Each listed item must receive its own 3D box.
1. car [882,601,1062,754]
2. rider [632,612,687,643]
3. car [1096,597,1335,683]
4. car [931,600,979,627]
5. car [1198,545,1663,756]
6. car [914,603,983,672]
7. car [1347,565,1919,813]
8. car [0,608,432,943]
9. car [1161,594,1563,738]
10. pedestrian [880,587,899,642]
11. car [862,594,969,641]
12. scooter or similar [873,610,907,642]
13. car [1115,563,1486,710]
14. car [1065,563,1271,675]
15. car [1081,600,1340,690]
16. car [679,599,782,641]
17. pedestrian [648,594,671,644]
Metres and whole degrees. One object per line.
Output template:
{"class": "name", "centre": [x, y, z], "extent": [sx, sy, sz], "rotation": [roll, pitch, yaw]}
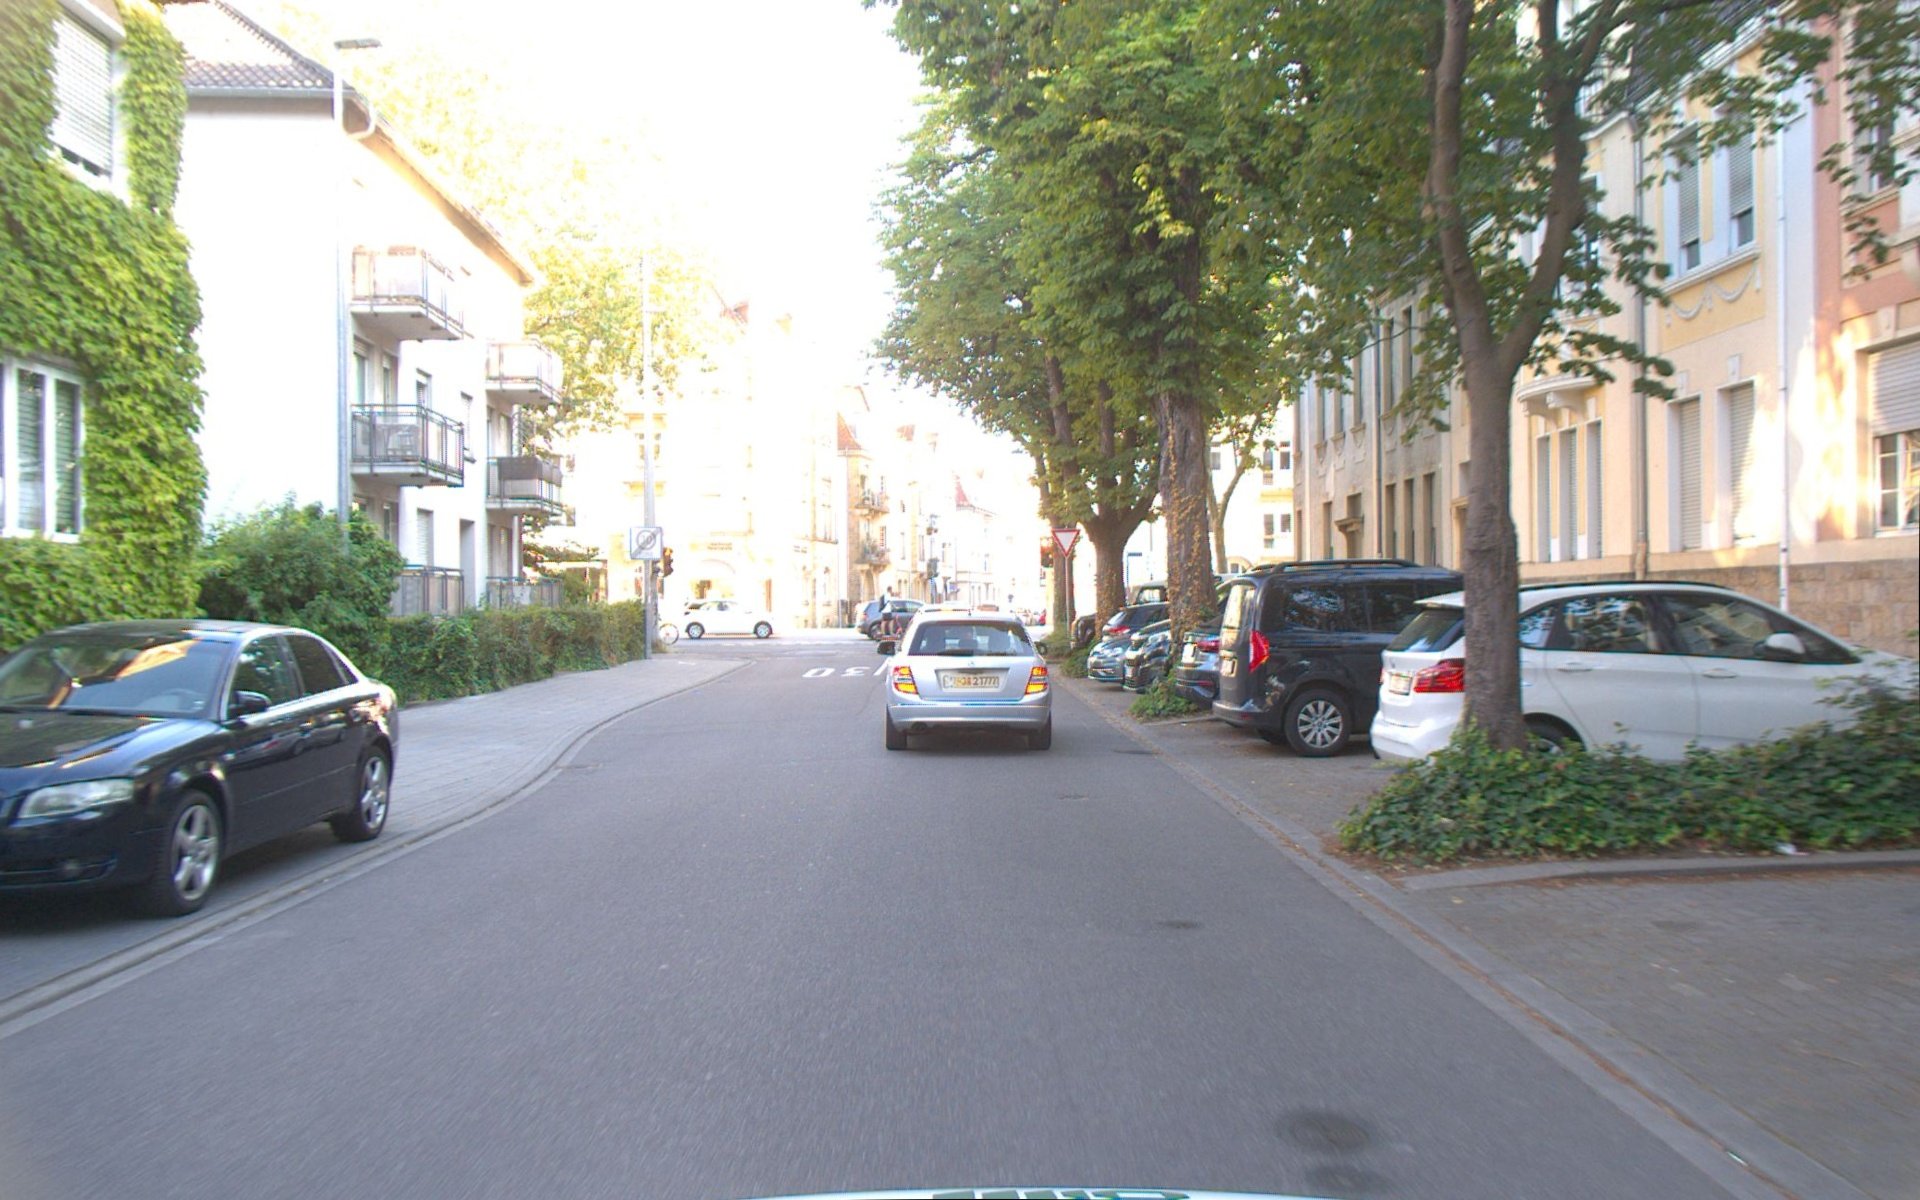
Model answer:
{"class": "car", "centre": [0.128, 0.793, 18.178], "extent": [1.747, 1.462, 3.850], "rotation": [1, -1, 0]}
{"class": "rider", "centre": [-10.306, 0.949, 56.745], "extent": [1.839, 1.056, 0.510], "rotation": [0, 0, -9]}
{"class": "car", "centre": [4.792, 0.741, 31.404], "extent": [4.202, 1.568, 1.898], "rotation": [0, 0, -3]}
{"class": "car", "centre": [-0.283, 0.798, 100.516], "extent": [1.951, 1.613, 4.003], "rotation": [0, 0, 15]}
{"class": "car", "centre": [4.669, 0.485, 16.836], "extent": [4.135, 1.929, 1.904], "rotation": [-1, -1, -3]}
{"class": "car", "centre": [-0.256, 0.882, 40.347], "extent": [1.590, 1.597, 3.680], "rotation": [0, 0, 0]}
{"class": "car", "centre": [5.094, 0.605, 12.164], "extent": [4.027, 1.599, 1.876], "rotation": [-1, -1, 0]}
{"class": "car", "centre": [-4.644, 0.809, 9.703], "extent": [1.660, 1.472, 4.357], "rotation": [1, 0, 0]}
{"class": "car", "centre": [4.578, 0.736, 19.242], "extent": [4.202, 1.568, 1.876], "rotation": [0, 0, -3]}
{"class": "pedestrian", "centre": [-2.480, 0.497, 58.134], "extent": [0.630, 1.899, 0.409], "rotation": [-1, 0, -4]}
{"class": "car", "centre": [-1.663, 0.633, 60.938], "extent": [3.813, 1.671, 1.752], "rotation": [0, 0, -6]}
{"class": "scooter or similar", "centre": [-2.454, 0.907, 58.135], "extent": [1.152, 1.070, 0.409], "rotation": [-2, 0, -4]}
{"class": "car", "centre": [4.858, 0.514, 24.098], "extent": [4.952, 2.024, 2.071], "rotation": [0, 0, -3]}
{"class": "car", "centre": [4.591, 0.415, 36.938], "extent": [4.301, 2.406, 1.999], "rotation": [0, 0, -3]}
{"class": "car", "centre": [4.327, 0.764, 29.015], "extent": [4.202, 1.442, 1.876], "rotation": [-1, 0, -3]}
{"class": "car", "centre": [-8.686, 0.762, 62.715], "extent": [3.816, 1.542, 1.704], "rotation": [0, 0, -9]}
{"class": "pedestrian", "centre": [-10.294, 0.649, 56.752], "extent": [0.755, 1.674, 0.504], "rotation": [0, 0, -9]}
